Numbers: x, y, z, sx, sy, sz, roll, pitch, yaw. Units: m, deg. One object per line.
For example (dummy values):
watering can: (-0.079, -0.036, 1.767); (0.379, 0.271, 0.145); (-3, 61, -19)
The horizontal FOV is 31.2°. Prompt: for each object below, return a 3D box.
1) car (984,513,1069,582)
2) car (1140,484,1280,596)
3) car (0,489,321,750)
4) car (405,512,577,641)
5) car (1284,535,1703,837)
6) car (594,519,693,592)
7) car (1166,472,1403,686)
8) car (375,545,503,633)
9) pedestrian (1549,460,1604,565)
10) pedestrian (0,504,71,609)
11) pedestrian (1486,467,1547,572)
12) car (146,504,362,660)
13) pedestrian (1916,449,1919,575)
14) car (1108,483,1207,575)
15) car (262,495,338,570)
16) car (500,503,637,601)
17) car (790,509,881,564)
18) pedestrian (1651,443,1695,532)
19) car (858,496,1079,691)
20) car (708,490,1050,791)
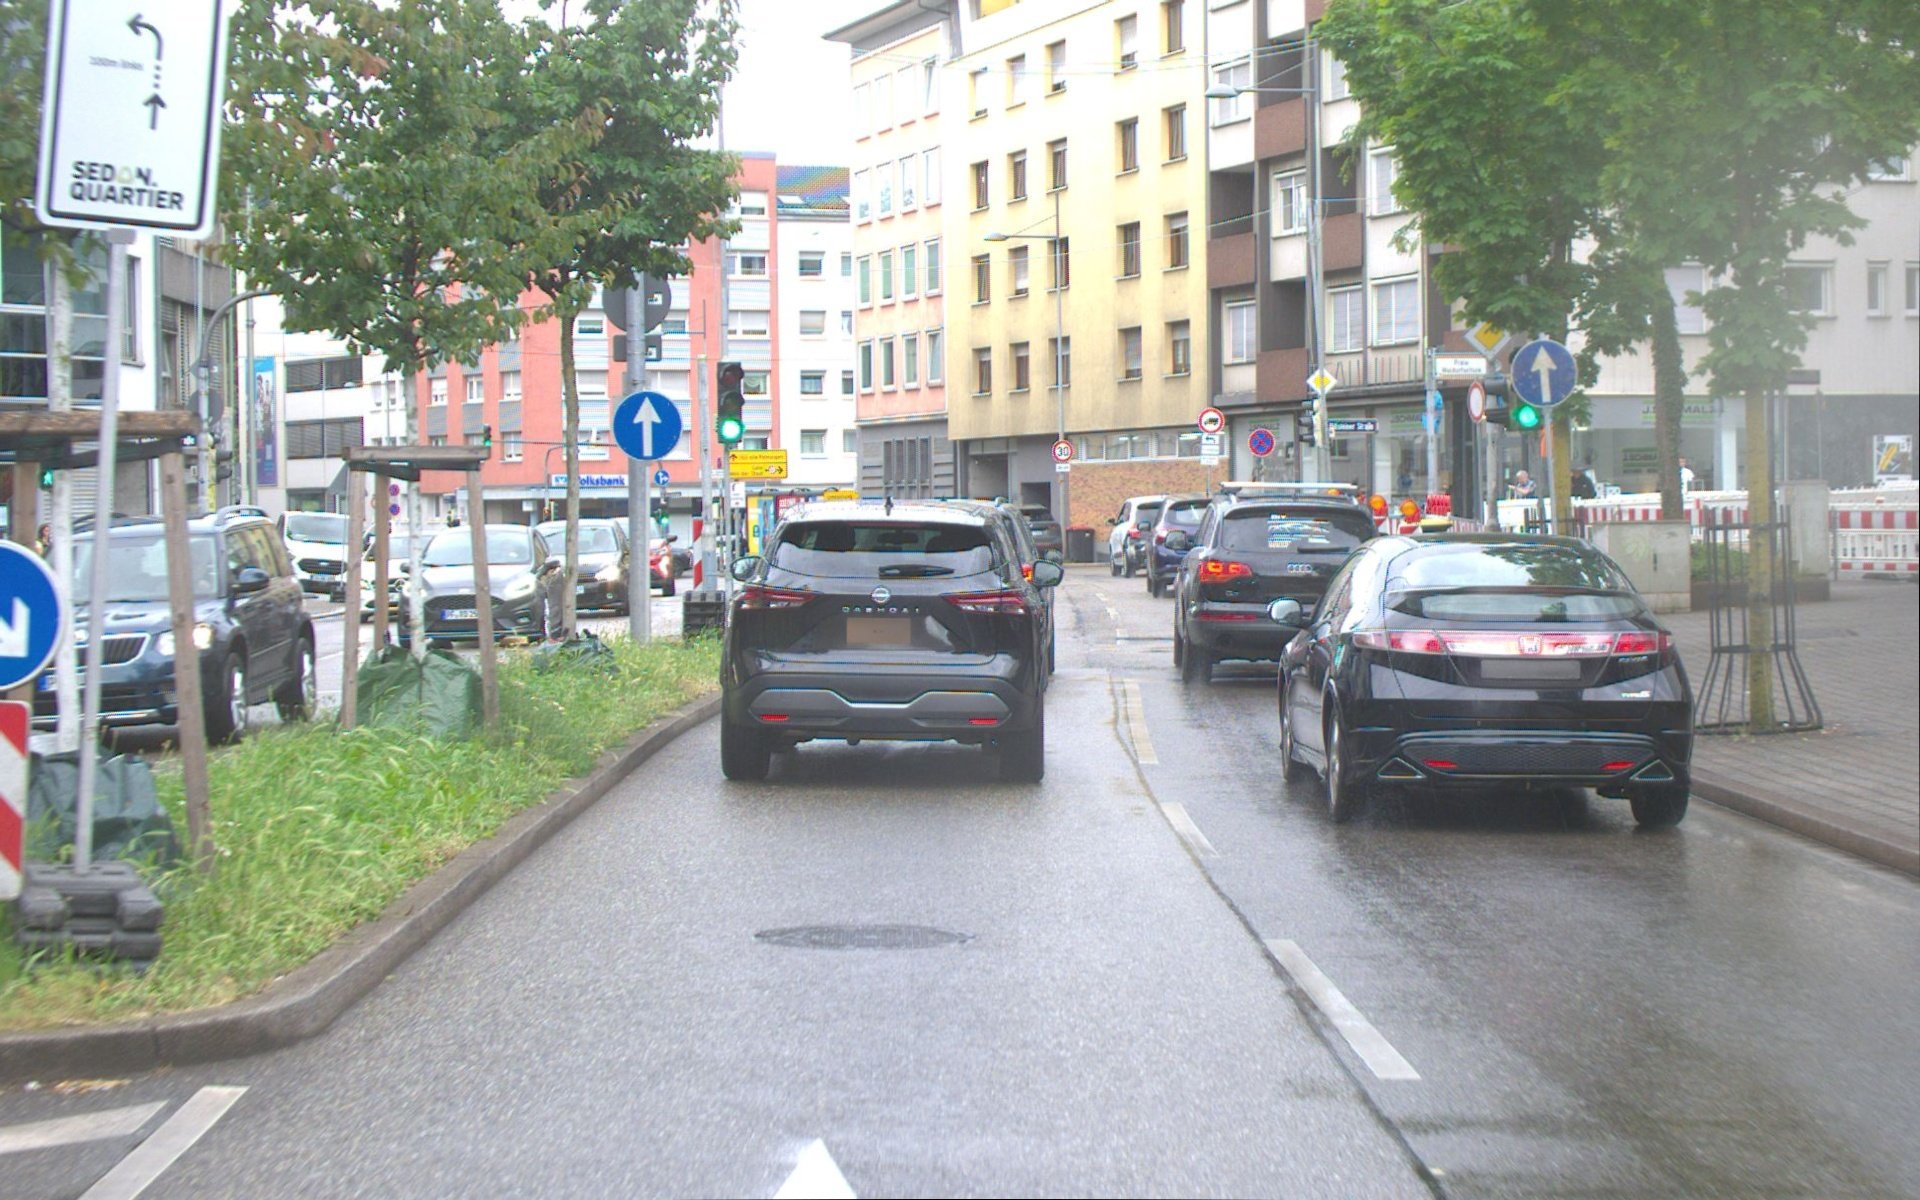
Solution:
car: (1.649, -1.323, 86.063); (1.707, 1.605, 3.729); (1, 2, -5)
car: (3.689, -0.923, 51.230); (1.830, 1.557, 3.719); (1, 2, 1)
car: (-5.833, 0.084, 24.702); (1.683, 1.655, 4.097); (-3, 1, 0)
car: (-5.628, -0.315, 41.639); (1.532, 1.408, 3.937); (-3, 1, -1)
car: (2.687, 0.371, 18.072); (1.786, 1.395, 3.718); (0, 1, 3)
car: (-6.067, -0.876, 66.110); (1.641, 1.317, 3.349); (-2, 1, -1)
car: (2.902, -0.252, 31.478); (1.830, 1.799, 3.719); (1, 2, 1)
car: (-8.294, -0.196, 54.931); (1.550, 1.285, 3.349); (-2, 1, -1)
pedestrian: (11.990, -1.710, 66.868); (0.821, 2.006, 0.840); (1, 2, -3)
pedestrian: (-14.360, -0.678, 53.359); (0.781, 1.585, 0.763); (-3, 2, -37)
pedestrian: (10.878, -1.577, 67.195); (0.821, 2.006, 0.840); (1, 2, -19)
car: (-7.933, -0.238, 38.933); (1.632, 1.586, 3.937); (-3, 1, -1)
pedestrian: (7.517, -0.254, 25.363); (0.792, 1.749, 0.871); (-2, 1, 12)
car: (3.820, -1.400, 66.857); (1.830, 1.678, 3.719); (1, 2, 3)
car: (-14.426, -1.467, 75.267); (1.549, 1.565, 3.349); (1, 1, -10)
car: (-5.872, -0.741, 51.908); (1.670, 1.365, 3.753); (-2, 1, -1)
car: (-3.219, -1.631, 88.273); (1.640, 1.340, 3.349); (-2, 1, -13)
pedestrian: (14.374, -2.268, 69.313); (0.528, 1.763, 0.623); (0, 2, -31)
car: (0.061, -0.102, 30.577); (1.823, 1.595, 3.719); (1, 1, 0)
car: (-0.449, 0.173, 20.442); (1.823, 1.595, 3.719); (1, 1, 0)
